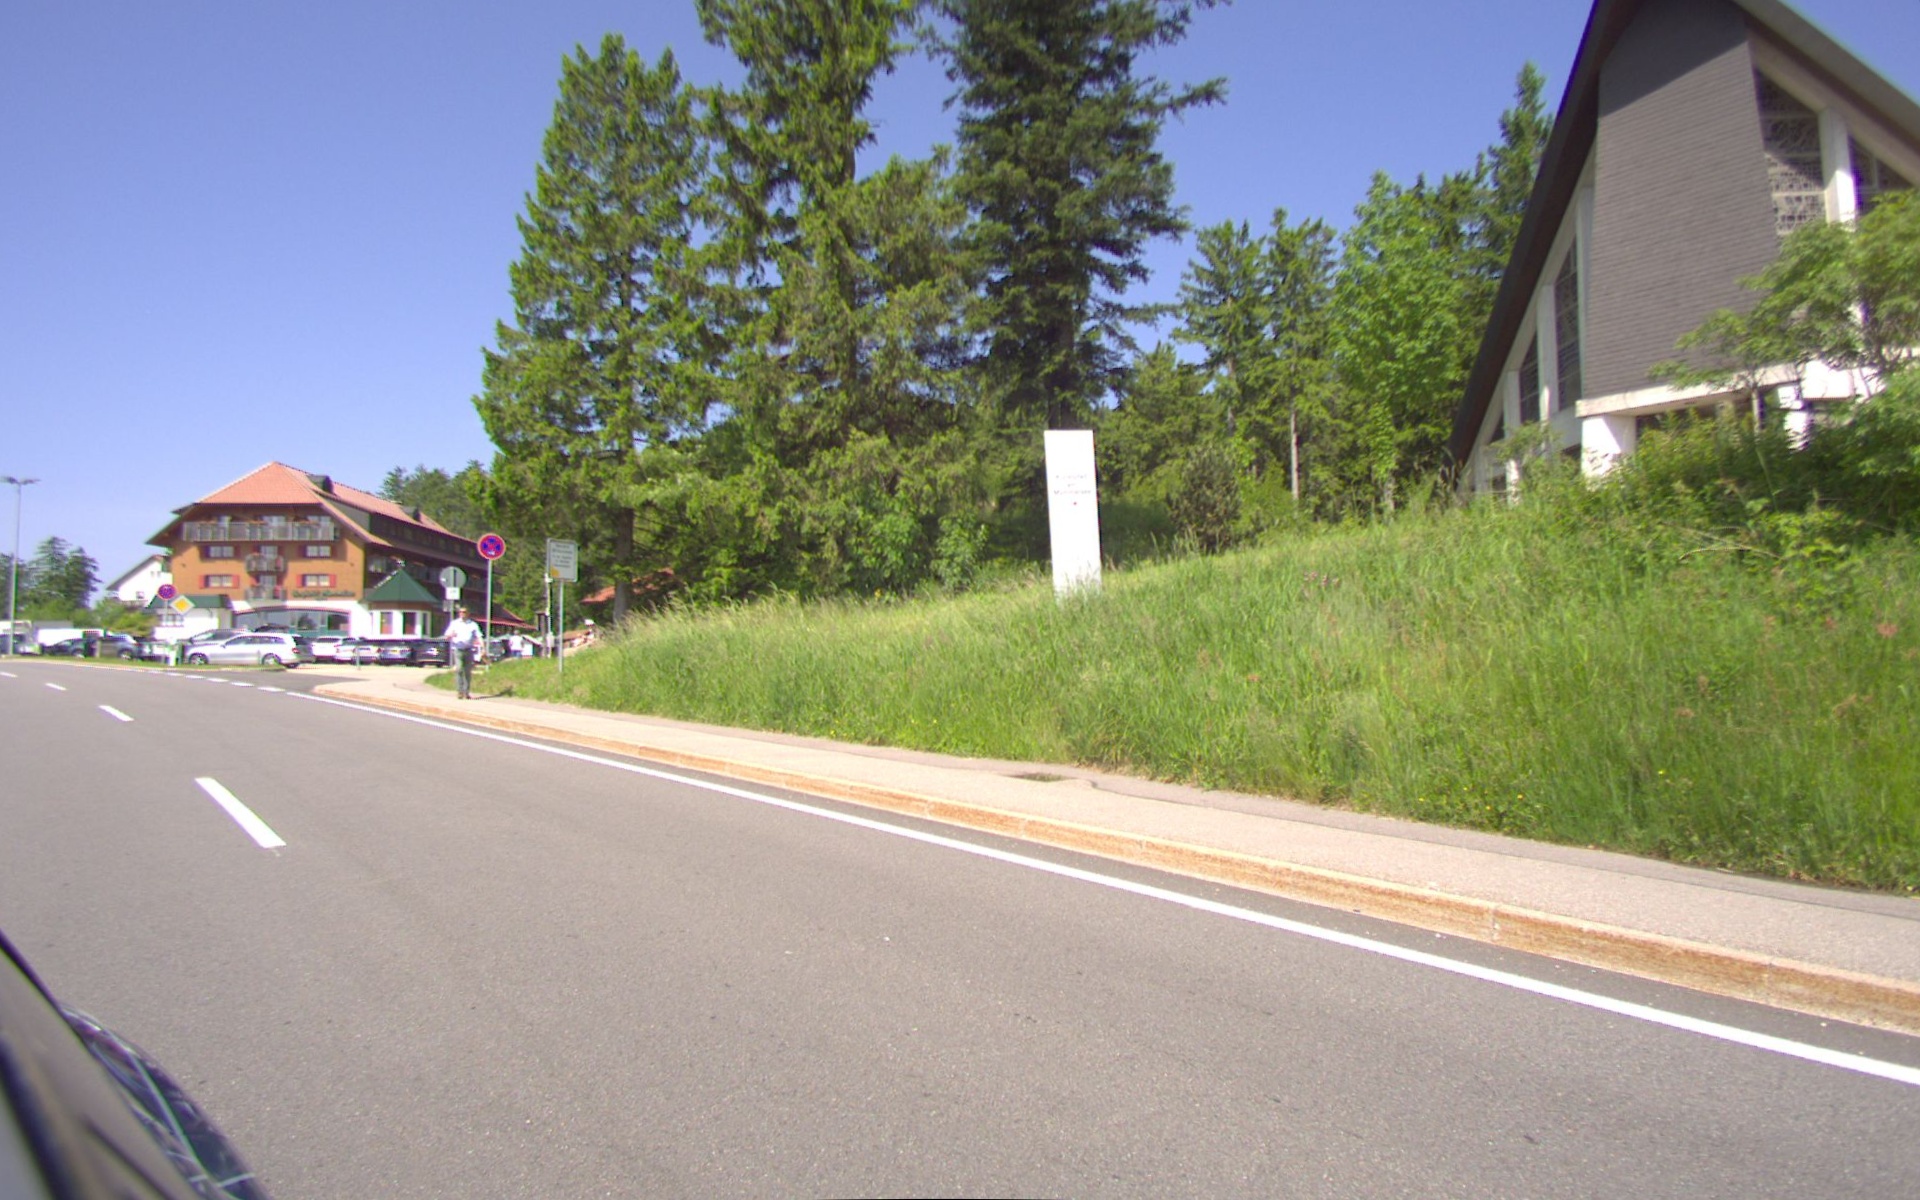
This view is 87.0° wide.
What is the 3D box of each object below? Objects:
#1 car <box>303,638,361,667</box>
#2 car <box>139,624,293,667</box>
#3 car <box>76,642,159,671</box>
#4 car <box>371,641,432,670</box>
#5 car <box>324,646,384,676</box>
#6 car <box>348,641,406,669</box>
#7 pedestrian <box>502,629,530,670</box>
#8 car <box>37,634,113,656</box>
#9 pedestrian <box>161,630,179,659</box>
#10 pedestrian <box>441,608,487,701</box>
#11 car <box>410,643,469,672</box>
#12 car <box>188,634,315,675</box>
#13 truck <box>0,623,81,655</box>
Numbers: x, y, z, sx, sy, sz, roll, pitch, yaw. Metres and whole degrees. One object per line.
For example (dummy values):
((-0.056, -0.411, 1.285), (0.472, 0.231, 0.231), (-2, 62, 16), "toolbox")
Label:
((-36.236, 3.034, 58.472), (1.688, 1.564, 3.139), (0, -1, -6), "car")
((-33.709, 2.046, 46.012), (5.274, 1.884, 2.005), (0, -2, -14), "car")
((-48.403, 3.232, 58.196), (3.286, 1.604, 1.717), (0, -2, -2), "car")
((-28.884, 2.872, 52.422), (1.691, 1.445, 3.321), (0, -3, -9), "car")
((-33.979, 3.398, 56.836), (1.704, 1.476, 3.528), (0, -1, -10), "car")
((-31.372, 2.963, 54.520), (1.615, 1.445, 3.321), (0, -3, -9), "car")
((-19.130, 2.127, 43.626), (0.900, 1.754, 0.637), (0, -2, -2), "pedestrian")
((-80.342, 4.047, 91.945), (5.174, 1.920, 2.003), (1, -2, -41), "car")
((-47.428, 2.658, 60.780), (0.768, 1.712, 0.684), (2, -3, -43), "pedestrian")
((-9.573, 1.048, 19.542), (0.686, 1.754, 0.573), (-2, -3, 41), "pedestrian")
((-26.240, 2.888, 51.111), (1.686, 1.406, 3.321), (0, -3, -9), "car")
((-29.067, 2.219, 41.623), (3.900, 1.600, 1.793), (0, -2, -9), "car")
((-87.198, 3.595, 95.421), (2.822, 2.851, 8.784), (0, -1, -13), "truck")
